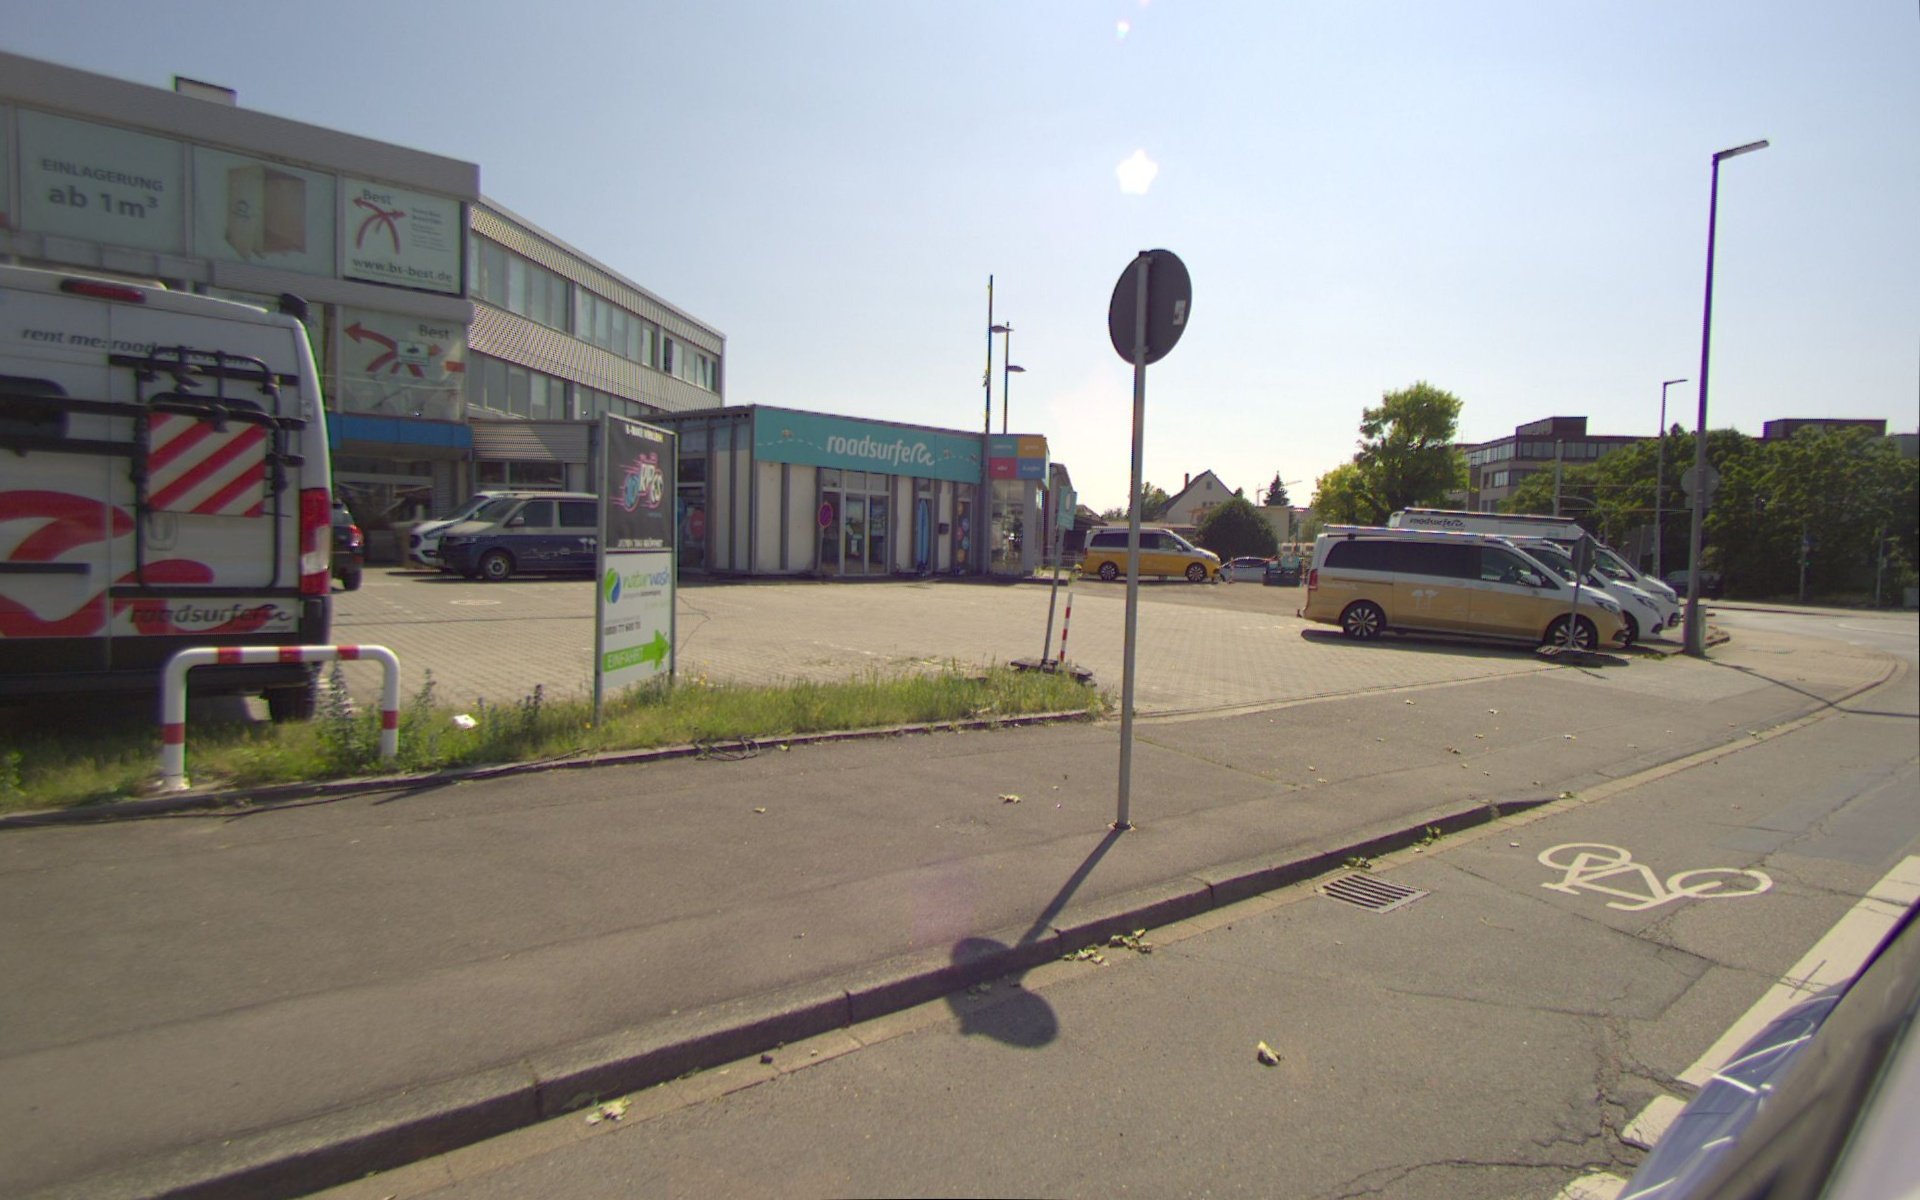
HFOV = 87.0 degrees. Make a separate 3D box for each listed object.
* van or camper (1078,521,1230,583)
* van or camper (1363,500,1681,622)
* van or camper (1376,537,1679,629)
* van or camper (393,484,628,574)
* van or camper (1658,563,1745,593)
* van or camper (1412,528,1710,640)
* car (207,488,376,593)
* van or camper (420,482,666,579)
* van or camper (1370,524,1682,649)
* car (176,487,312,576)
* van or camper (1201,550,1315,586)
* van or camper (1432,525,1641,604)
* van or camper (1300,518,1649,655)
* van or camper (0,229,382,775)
[{"bbox_3d":[7.192,-1.798,37.559,5.339,2.064,2.285,2,3,14],"label":"van or camper"},{"bbox_3d":[13.510,-1.017,24.931,6.274,2.668,2.522,3,3,16],"label":"van or camper"},{"bbox_3d":[15.382,-0.546,28.059,6.757,2.160,2.772,3,3,17],"label":"van or camper"},{"bbox_3d":[-11.292,-1.736,25.660,5.032,2.038,2.119,-1,4,-45],"label":"van or camper"},{"bbox_3d":[50.579,-1.524,69.172,2.462,1.850,5.288,2,3,7],"label":"van or camper"},{"bbox_3d":[12.822,-0.422,22.086,5.074,2.101,2.438,3,3,19],"label":"van or camper"},{"bbox_3d":[-12.541,-1.114,18.846,1.966,1.698,4.545,-1,4,-42],"label":"car"},{"bbox_3d":[-9.643,-1.549,23.712,1.995,2.038,4.943,4,4,44],"label":"van or camper"},{"bbox_3d":[10.739,-0.348,19.714,4.923,2.069,2.029,3,4,21],"label":"van or camper"},{"bbox_3d":[-15.797,-1.486,22.244,1.966,1.754,4.112,-1,4,-42],"label":"car"},{"bbox_3d":[15.021,-1.646,51.357,5.339,1.631,2.285,2,3,14],"label":"van or camper"},{"bbox_3d":[23.471,-1.471,41.546,6.731,2.919,2.782,2,3,7],"label":"van or camper"},{"bbox_3d":[8.689,-0.338,17.684,5.076,1.984,1.974,4,4,21],"label":"van or camper"},{"bbox_3d":[-6.210,-0.636,7.357,2.571,2.555,6.213,0,4,-39],"label":"van or camper"}]
